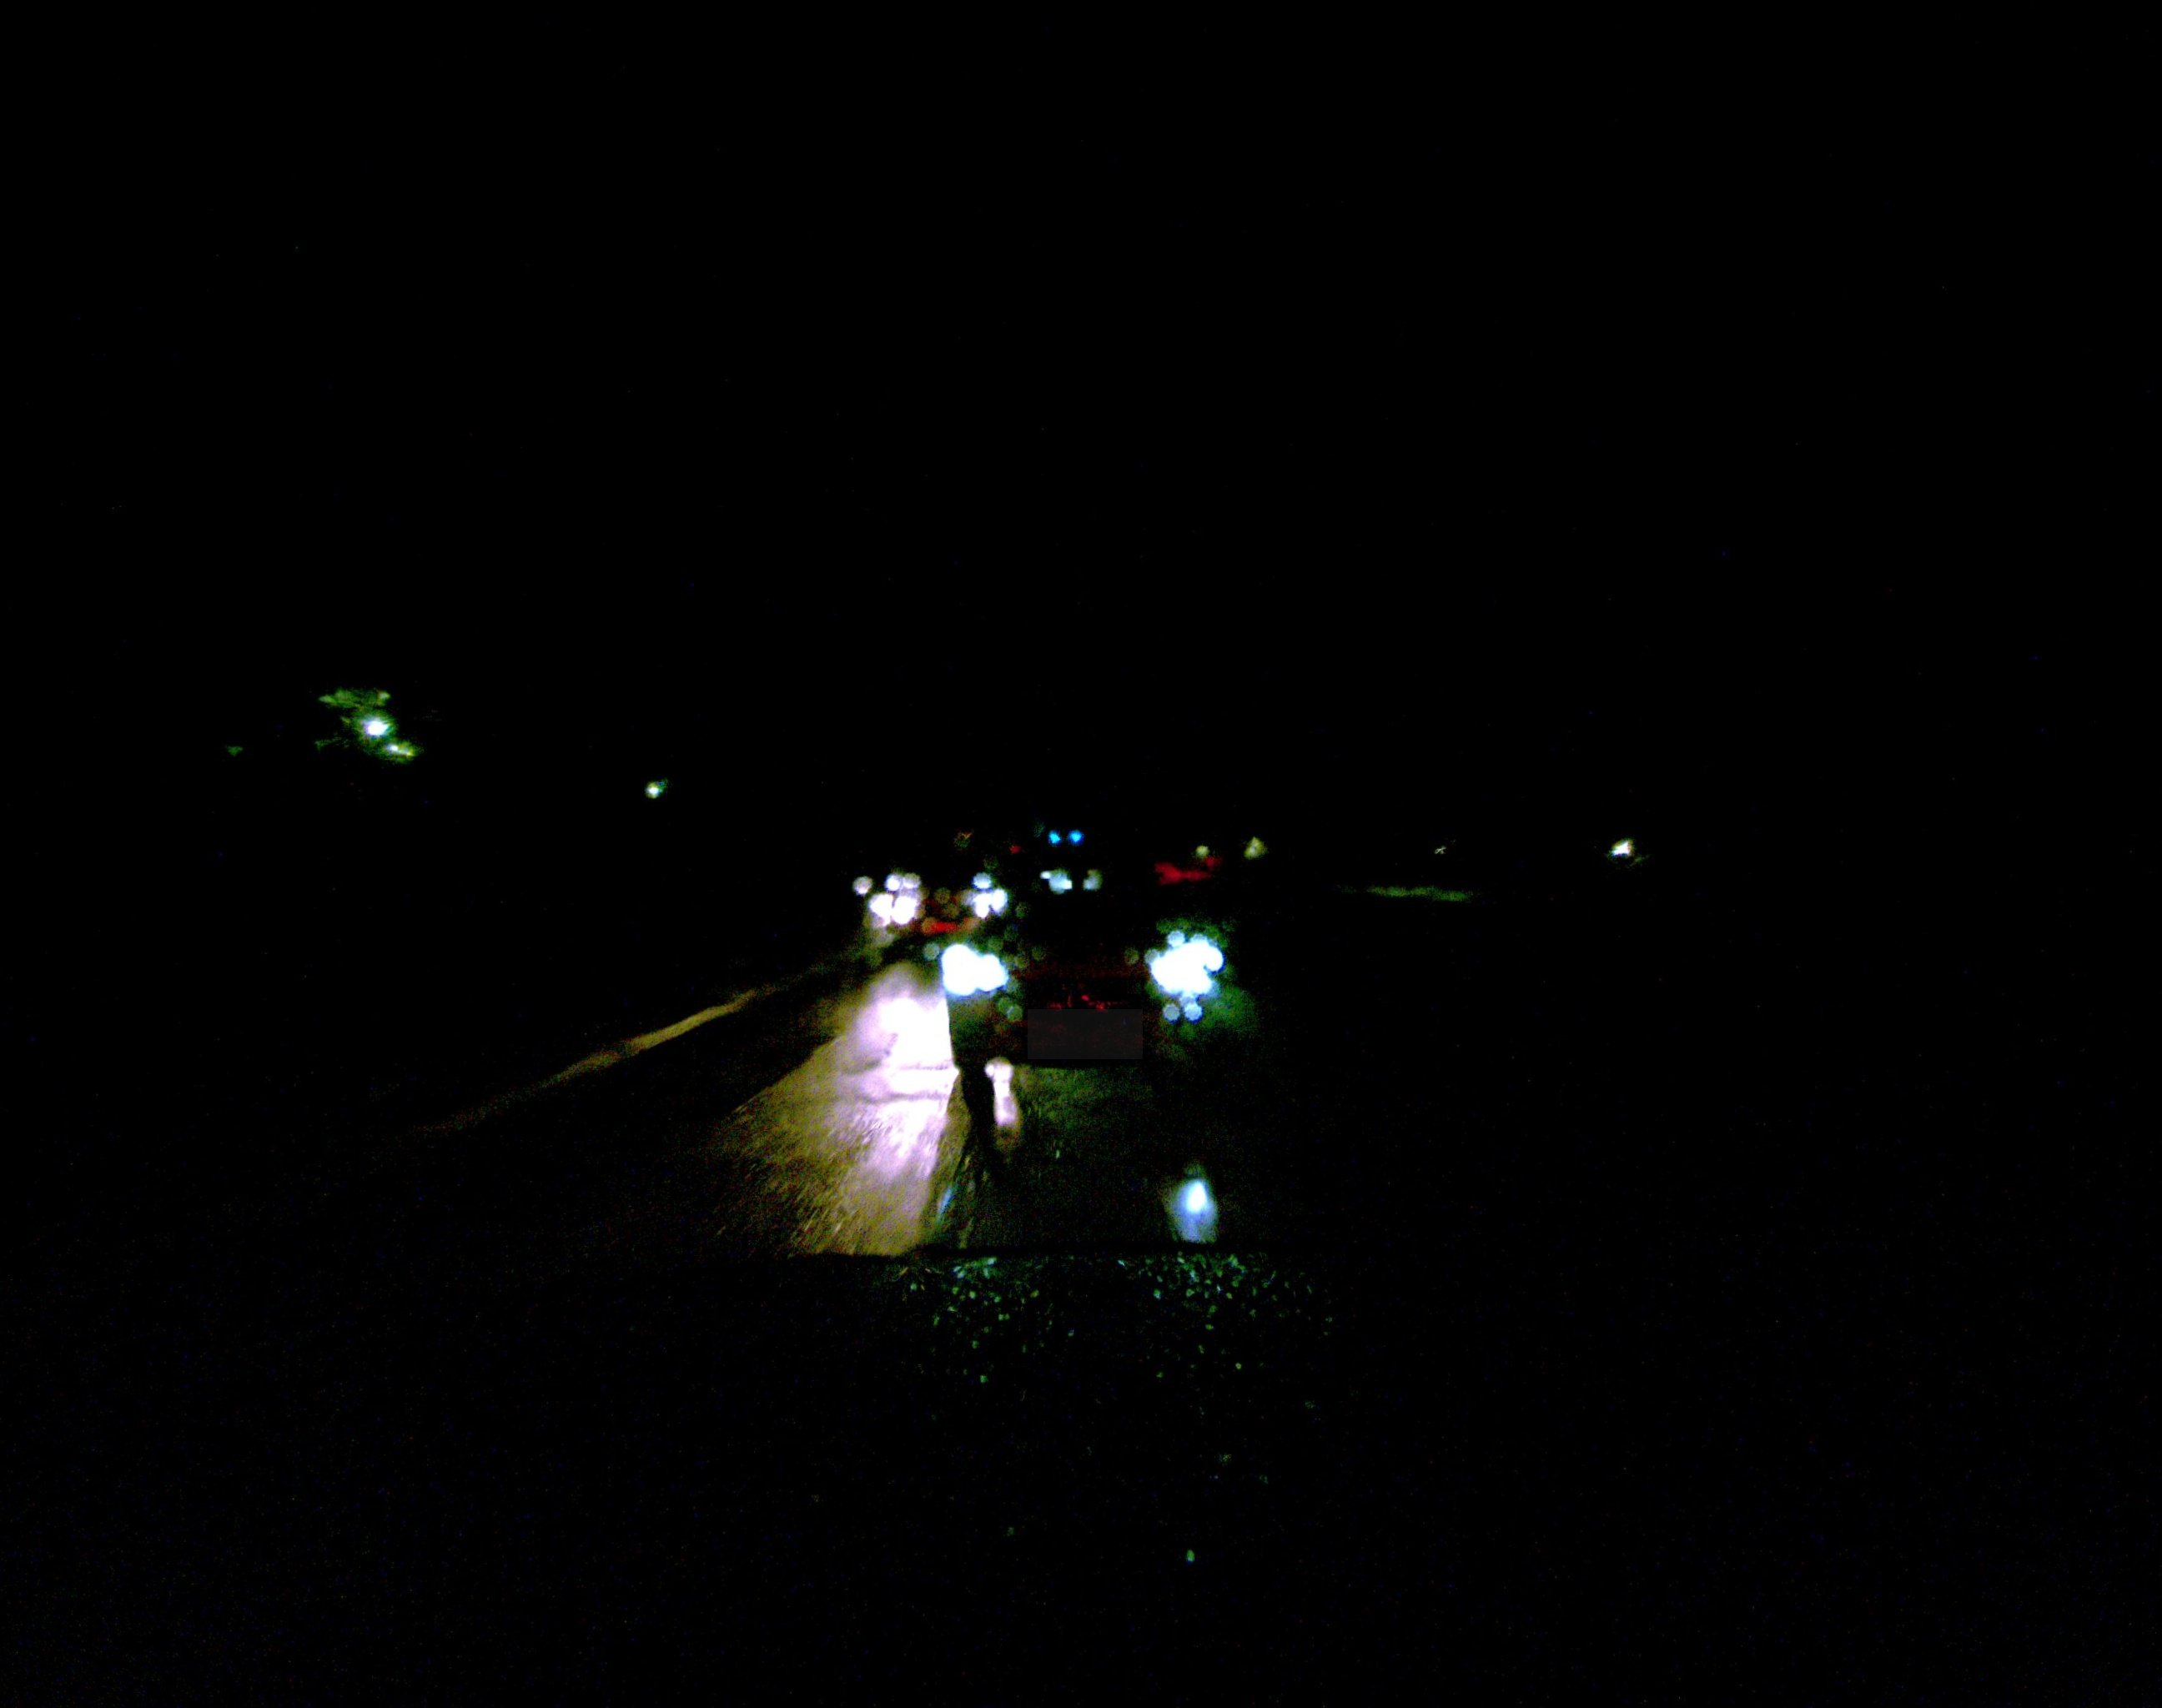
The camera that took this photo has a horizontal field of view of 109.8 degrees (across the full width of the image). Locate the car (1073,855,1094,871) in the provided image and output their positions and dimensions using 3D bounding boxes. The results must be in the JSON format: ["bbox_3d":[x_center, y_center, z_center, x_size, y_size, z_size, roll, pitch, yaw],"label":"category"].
[{"bbox_3d":[0.181,0.855,75.079,1.699,1.426,4.291,-2,1,-5],"label":"car"}]

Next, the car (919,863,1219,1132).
[{"bbox_3d":[-0.070,0.907,7.035,1.810,1.590,4.786,-1,0,0],"label":"car"}]

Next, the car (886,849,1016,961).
[{"bbox_3d":[-2.386,0.870,15.130,1.760,1.807,4.710,-2,0,-1],"label":"car"}]

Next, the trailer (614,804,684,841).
[{"bbox_3d":[-26.685,-1.914,47.178,2.234,2.060,5.713,-1,0,-14],"label":"trailer"}]

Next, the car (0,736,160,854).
[{"bbox_3d":[-16.287,-0.846,11.050,1.642,1.608,4.128,-2,0,-17],"label":"car"}]

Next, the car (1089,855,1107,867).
[{"bbox_3d":[2.134,0.894,96.664,1.923,1.435,4.544,-2,0,-3],"label":"car"}]

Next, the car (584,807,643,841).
[{"bbox_3d":[-24.544,-1.526,40.048,1.619,1.630,3.994,-2,1,-16],"label":"car"}]

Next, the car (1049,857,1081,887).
[{"bbox_3d":[-0.860,0.959,40.615,1.625,1.477,3.785,-1,-1,-2],"label":"car"}]

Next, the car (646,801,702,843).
[{"bbox_3d":[-28.048,-2.156,52.583,2.122,2.619,5.444,-1,0,-14],"label":"car"}]
